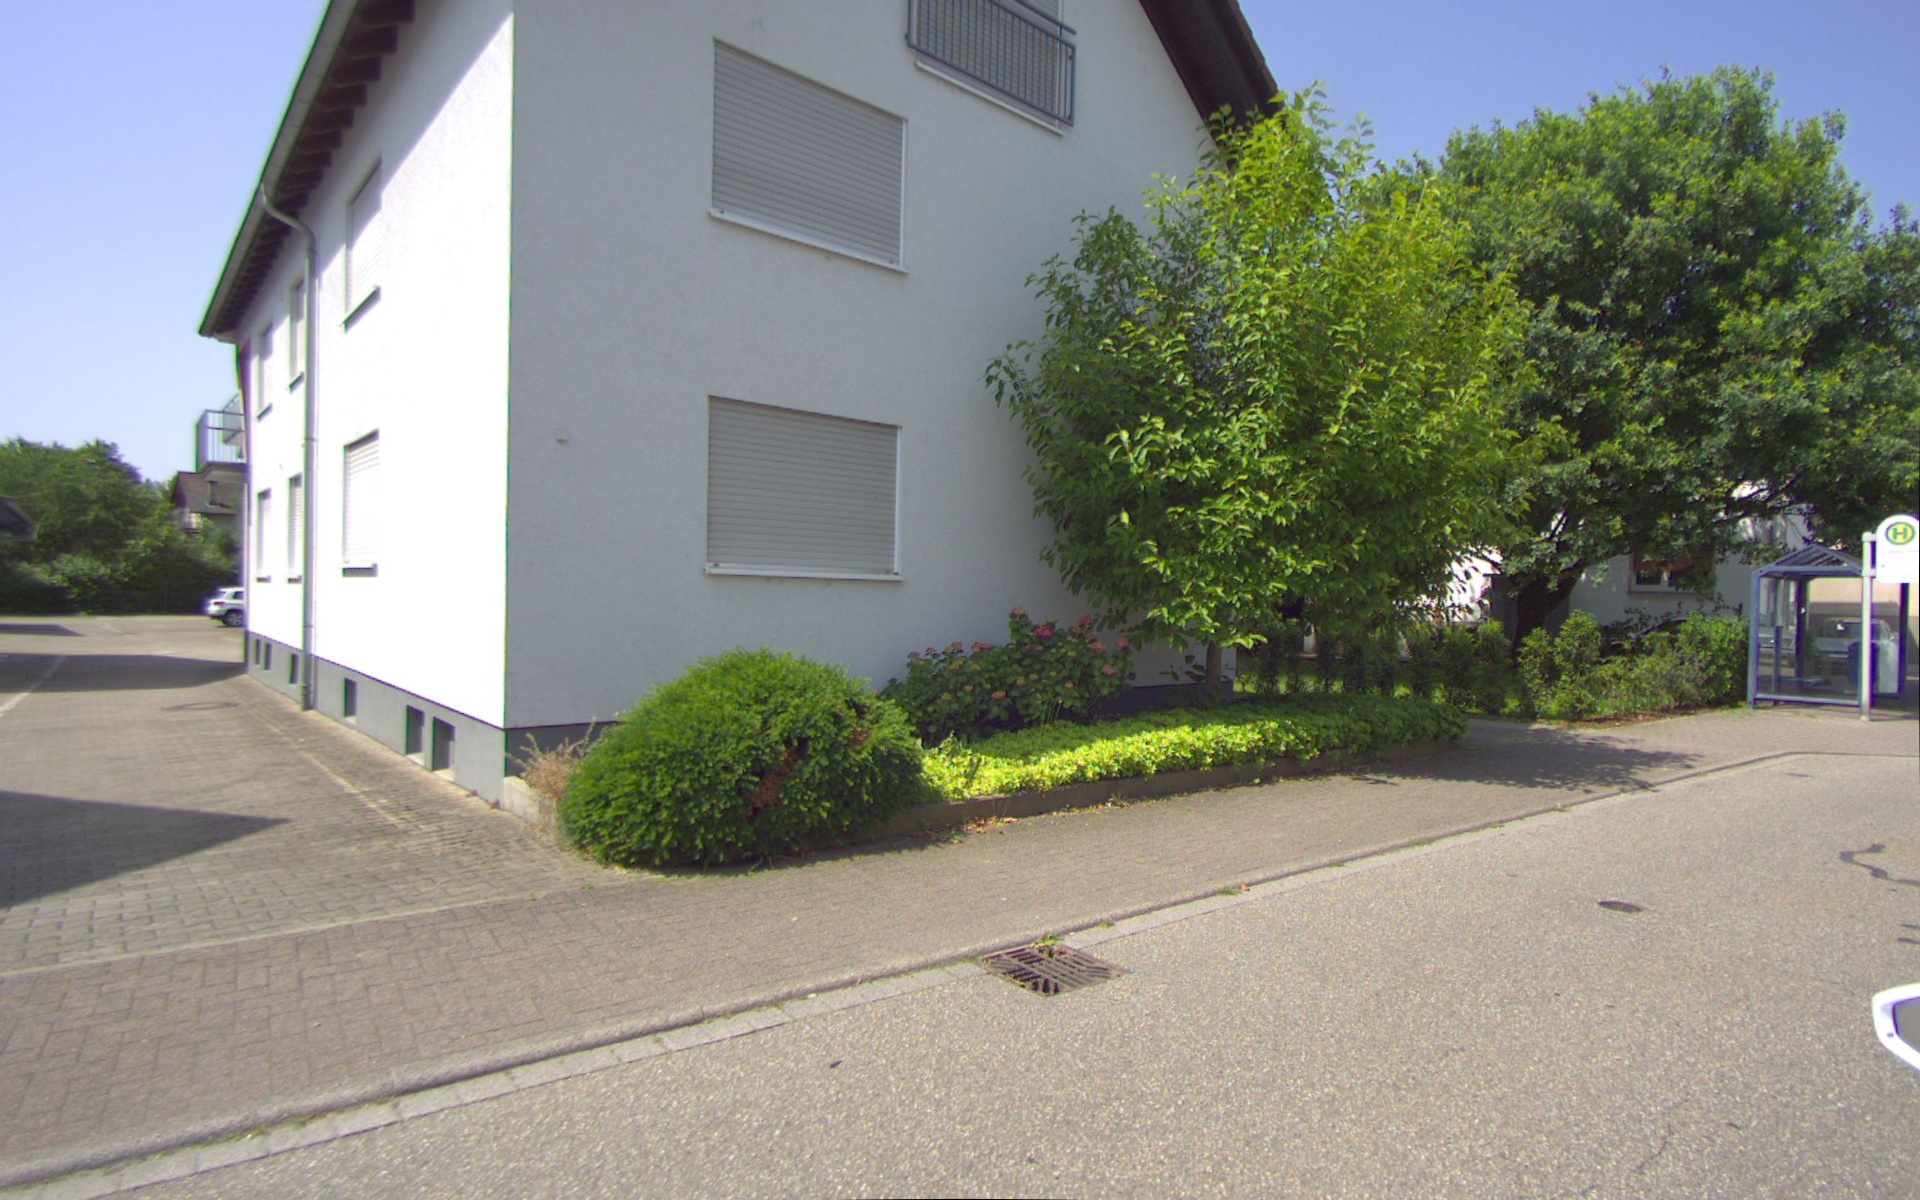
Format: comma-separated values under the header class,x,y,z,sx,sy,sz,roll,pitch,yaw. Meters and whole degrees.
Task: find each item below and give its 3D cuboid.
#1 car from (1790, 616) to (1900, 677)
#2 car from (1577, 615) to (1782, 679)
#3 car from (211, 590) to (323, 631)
class,x,y,z,sx,sy,sz,roll,pitch,yaw
car,23.560,1.170,26.706,4.026,1.454,1.762,1,1,-43
car,18.957,1.188,26.600,1.759,1.559,4.125,1,-1,-40
car,-30.630,0.470,44.544,3.957,1.724,1.982,1,-1,-33
